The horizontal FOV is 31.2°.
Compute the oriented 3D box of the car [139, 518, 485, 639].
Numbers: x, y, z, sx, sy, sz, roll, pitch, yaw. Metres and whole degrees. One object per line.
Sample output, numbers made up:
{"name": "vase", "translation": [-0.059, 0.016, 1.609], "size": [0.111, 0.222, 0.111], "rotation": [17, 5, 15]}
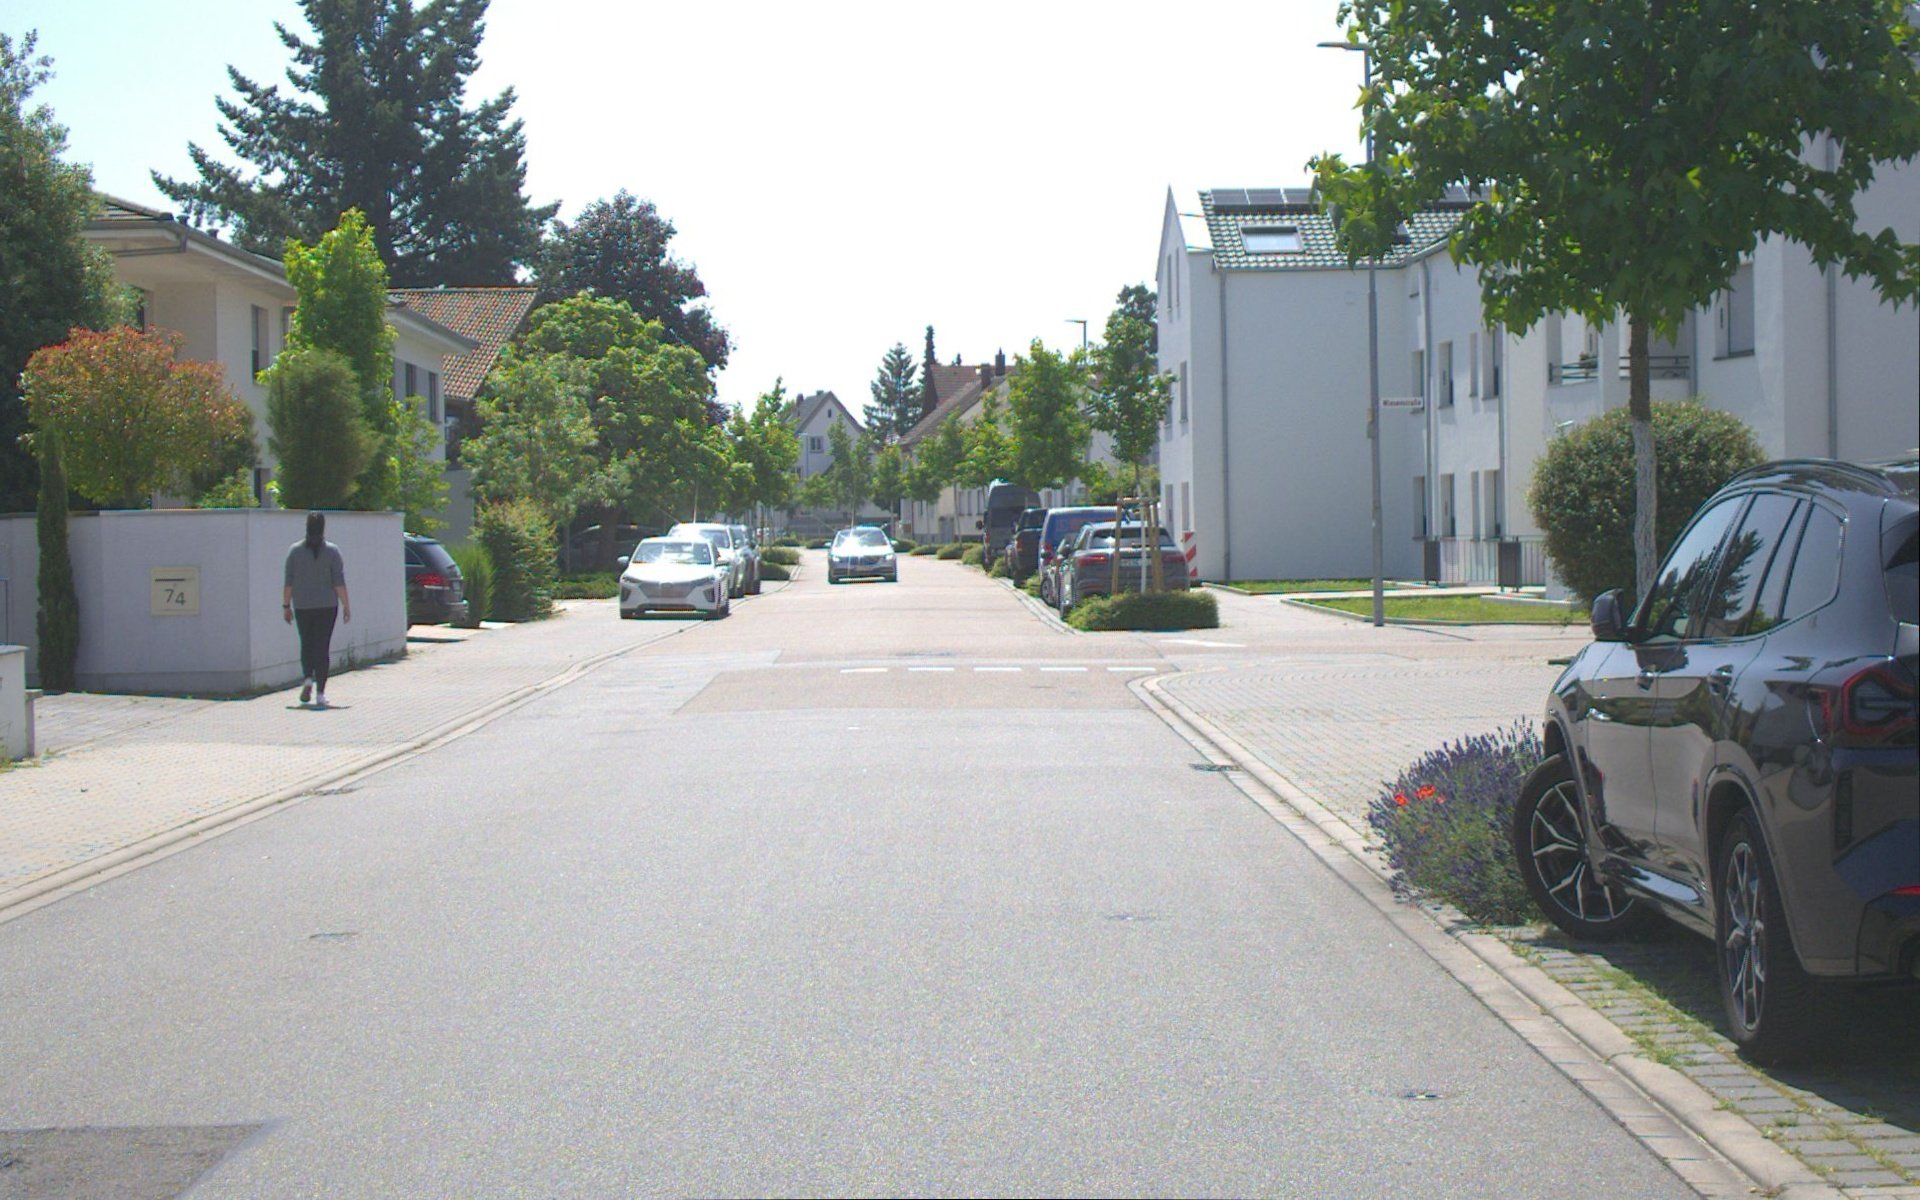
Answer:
{"name": "car", "translation": [-9.102, -0.318, 48.470], "size": [4.429, 1.468, 1.850], "rotation": [3, 1, 4]}

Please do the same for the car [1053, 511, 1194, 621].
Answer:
{"name": "car", "translation": [2.537, -0.556, 54.217], "size": [1.773, 1.590, 4.280], "rotation": [-2, 1, -3]}

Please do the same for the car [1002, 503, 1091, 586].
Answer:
{"name": "car", "translation": [2.124, -1.383, 85.270], "size": [1.993, 1.940, 5.215], "rotation": [-2, 1, 0]}

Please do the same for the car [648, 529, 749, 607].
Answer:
{"name": "car", "translation": [-5.914, -0.755, 78.155], "size": [1.927, 1.681, 4.498], "rotation": [-1, 1, 0]}

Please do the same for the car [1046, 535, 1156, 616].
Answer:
{"name": "car", "translation": [2.608, -0.488, 64.372], "size": [1.679, 1.437, 4.027], "rotation": [-1, 1, -3]}

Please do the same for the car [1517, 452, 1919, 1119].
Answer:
{"name": "car", "translation": [3.021, 0.378, 10.792], "size": [1.814, 1.650, 4.565], "rotation": [-1, 2, 0]}

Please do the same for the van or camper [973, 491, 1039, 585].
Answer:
{"name": "van or camper", "translation": [1.448, -1.988, 110.219], "size": [1.993, 2.931, 4.000], "rotation": [0, 1, -1]}

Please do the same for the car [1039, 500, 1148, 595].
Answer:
{"name": "car", "translation": [2.722, -1.100, 71.077], "size": [2.099, 1.875, 4.843], "rotation": [-1, 1, 1]}

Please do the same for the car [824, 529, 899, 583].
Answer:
{"name": "car", "translation": [-2.773, -1.262, 97.425], "size": [1.853, 1.473, 4.700], "rotation": [-1, 1, 1]}

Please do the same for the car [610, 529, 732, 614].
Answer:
{"name": "car", "translation": [-5.258, -0.548, 62.995], "size": [1.852, 1.483, 4.385], "rotation": [-1, 1, 0]}

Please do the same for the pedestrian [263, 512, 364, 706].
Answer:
{"name": "pedestrian", "translation": [-5.908, 0.069, 31.474], "size": [0.714, 1.741, 0.961], "rotation": [-1, 1, 0]}
